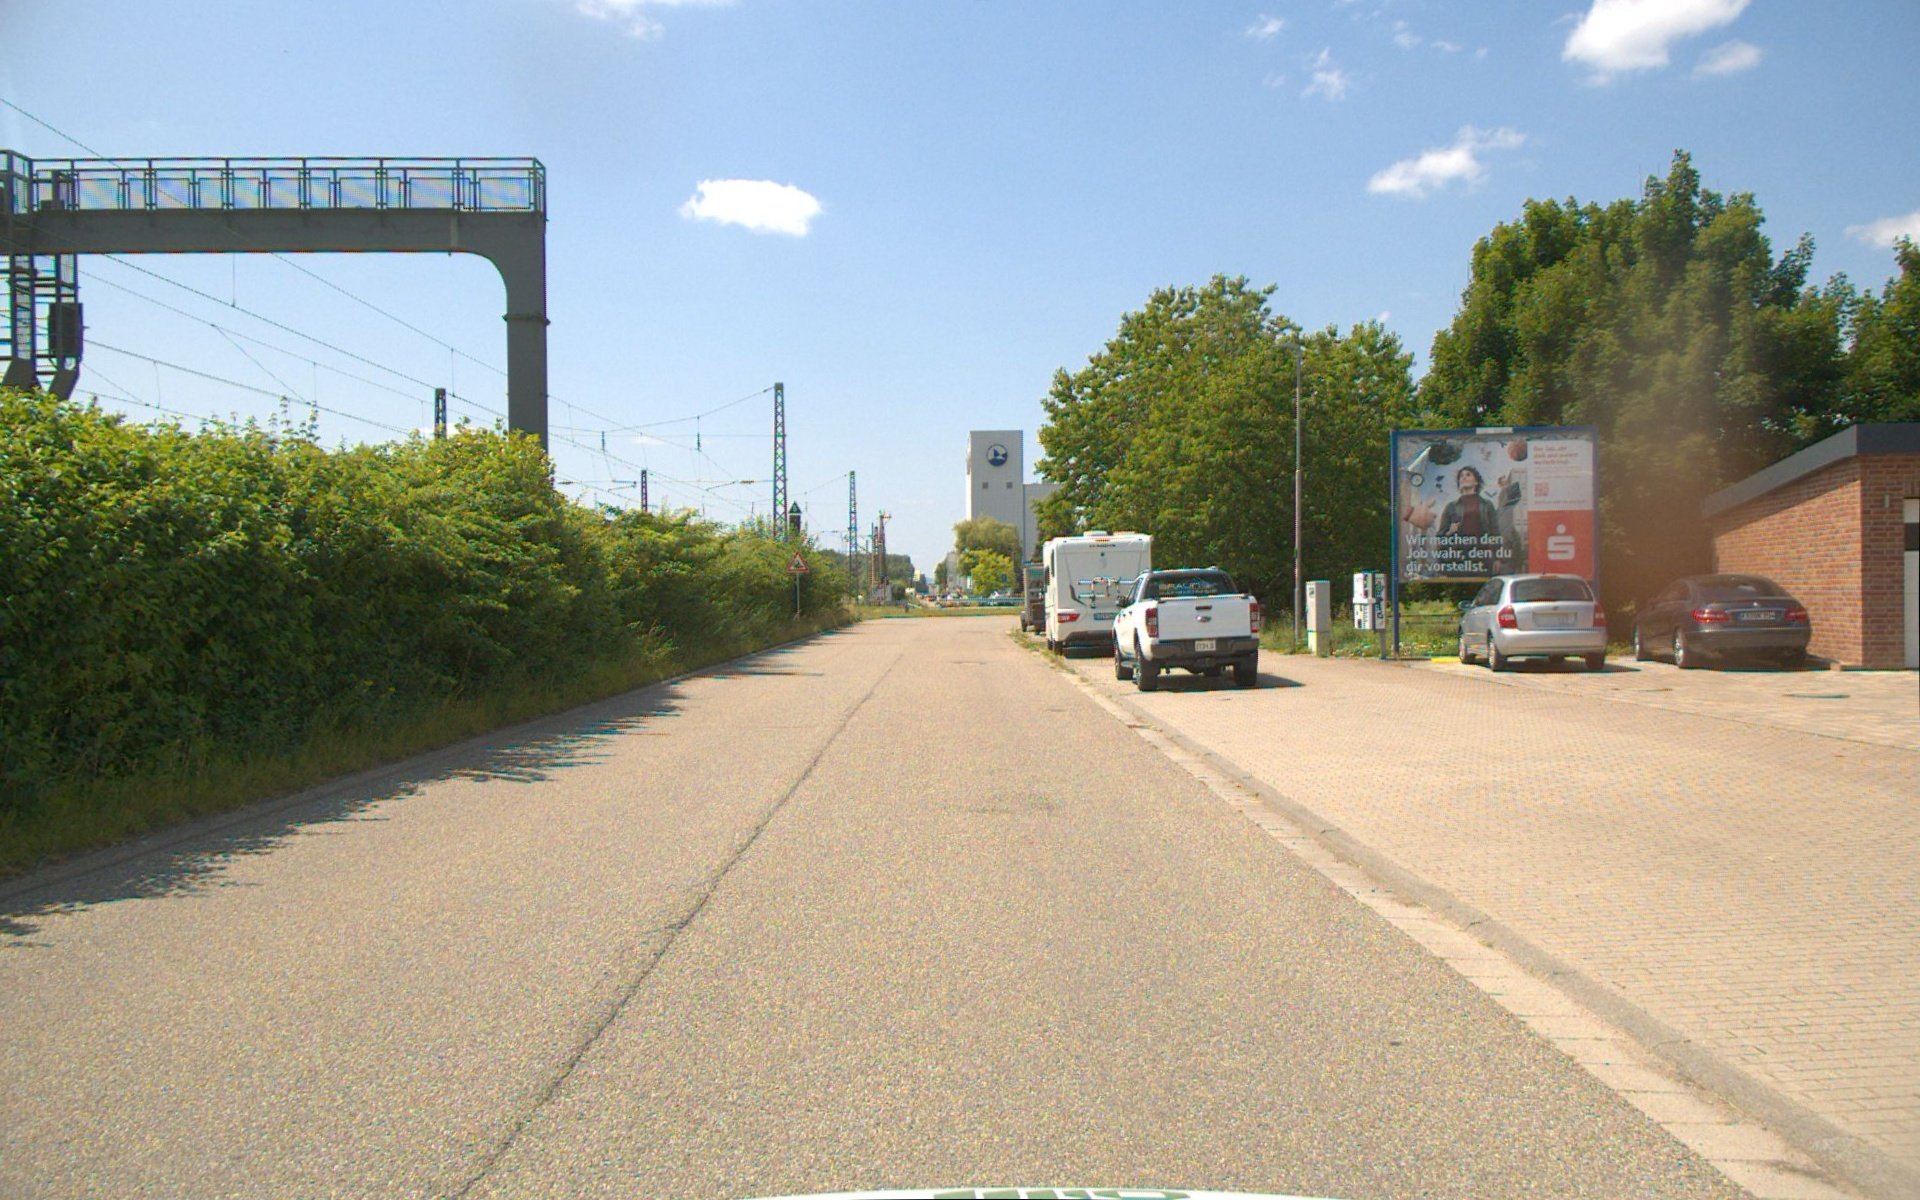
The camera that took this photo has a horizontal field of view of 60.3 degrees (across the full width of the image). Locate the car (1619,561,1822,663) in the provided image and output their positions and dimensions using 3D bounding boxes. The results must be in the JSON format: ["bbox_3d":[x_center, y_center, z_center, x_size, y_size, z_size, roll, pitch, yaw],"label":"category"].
[{"bbox_3d":[11.738,0.159,25.803,1.709,1.400,4.003,-2,0,7],"label":"car"}]

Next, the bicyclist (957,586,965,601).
[{"bbox_3d":[0.071,-0.545,143.848,0.501,1.277,0.468,0,1,33],"label":"bicyclist"}]

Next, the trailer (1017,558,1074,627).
[{"bbox_3d":[3.352,-0.300,65.667,1.880,2.552,4.741,-3,0,0],"label":"trailer"}]

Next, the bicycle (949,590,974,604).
[{"bbox_3d":[0.130,-0.247,143.827,2.102,1.185,0.659,0,1,34],"label":"bicycle"}]

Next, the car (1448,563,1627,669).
[{"bbox_3d":[9.200,0.222,26.671,1.865,1.505,4.003,-3,0,7],"label":"car"}]

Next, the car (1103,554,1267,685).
[{"bbox_3d":[3.551,0.272,27.048,1.810,1.846,5.424,-2,0,-1],"label":"car"}]

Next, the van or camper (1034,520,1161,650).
[{"bbox_3d":[3.302,-0.360,41.490,2.389,2.876,7.622,-2,0,0],"label":"van or camper"}]

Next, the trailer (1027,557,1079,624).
[{"bbox_3d":[4.034,-0.427,70.829,1.892,2.690,5.187,-3,0,5],"label":"trailer"}]

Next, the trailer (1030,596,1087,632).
[{"bbox_3d":[3.551,0.508,60.237,1.963,1.142,4.490,-3,0,2],"label":"trailer"}]

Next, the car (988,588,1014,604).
[{"bbox_3d":[4.041,-0.417,163.575,1.955,1.536,4.449,-1,1,-6],"label":"car"}]
